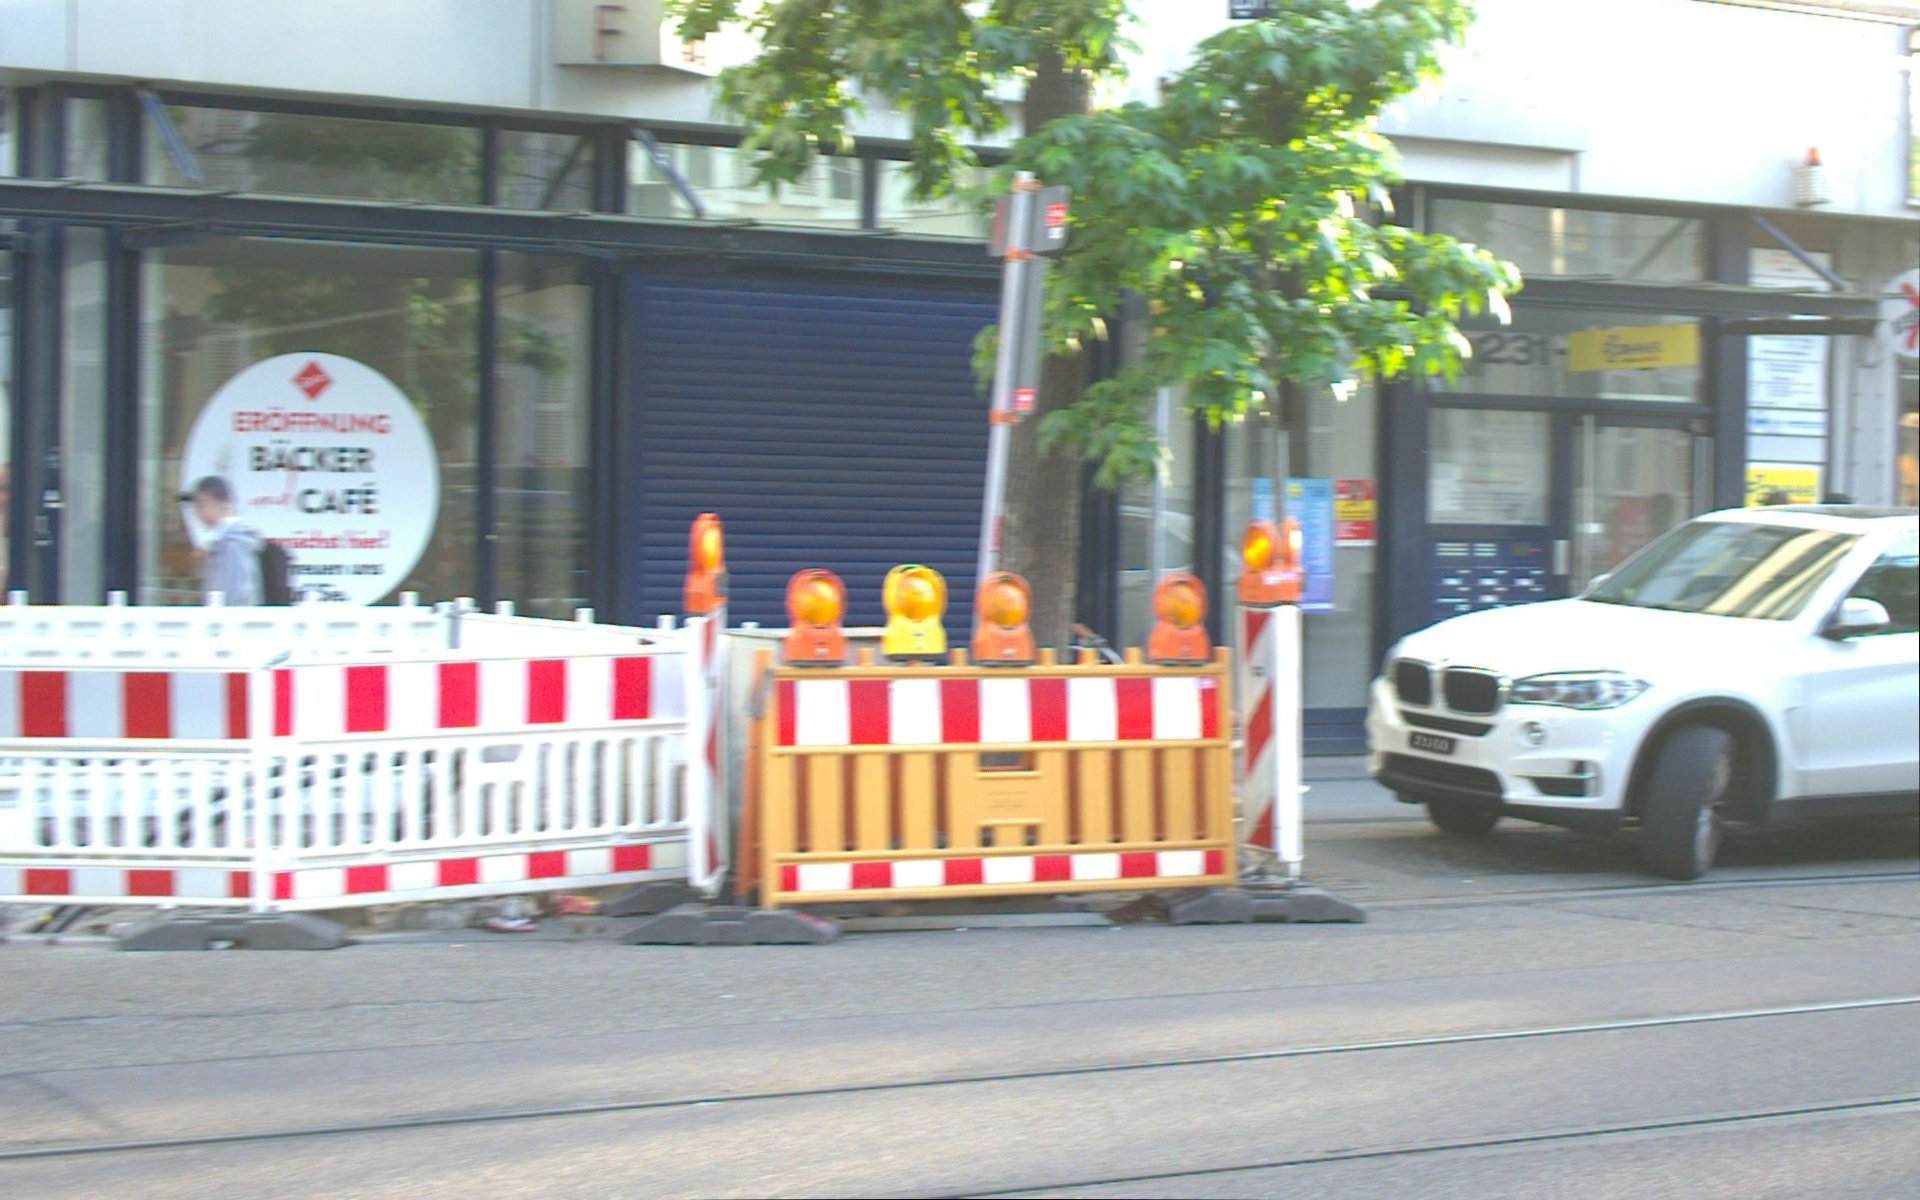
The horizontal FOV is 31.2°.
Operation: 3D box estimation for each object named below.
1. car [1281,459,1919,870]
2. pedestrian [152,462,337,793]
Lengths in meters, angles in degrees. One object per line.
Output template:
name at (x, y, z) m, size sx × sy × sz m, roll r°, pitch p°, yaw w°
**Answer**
car at (4.271, 0.273, 17.414) m, size 4.930 × 1.769 × 2.022 m, roll 1°, pitch 4°, yaw -30°
pedestrian at (-3.425, 0.116, 16.449) m, size 0.705 × 1.544 × 0.579 m, roll -1°, pitch 2°, yaw -33°
